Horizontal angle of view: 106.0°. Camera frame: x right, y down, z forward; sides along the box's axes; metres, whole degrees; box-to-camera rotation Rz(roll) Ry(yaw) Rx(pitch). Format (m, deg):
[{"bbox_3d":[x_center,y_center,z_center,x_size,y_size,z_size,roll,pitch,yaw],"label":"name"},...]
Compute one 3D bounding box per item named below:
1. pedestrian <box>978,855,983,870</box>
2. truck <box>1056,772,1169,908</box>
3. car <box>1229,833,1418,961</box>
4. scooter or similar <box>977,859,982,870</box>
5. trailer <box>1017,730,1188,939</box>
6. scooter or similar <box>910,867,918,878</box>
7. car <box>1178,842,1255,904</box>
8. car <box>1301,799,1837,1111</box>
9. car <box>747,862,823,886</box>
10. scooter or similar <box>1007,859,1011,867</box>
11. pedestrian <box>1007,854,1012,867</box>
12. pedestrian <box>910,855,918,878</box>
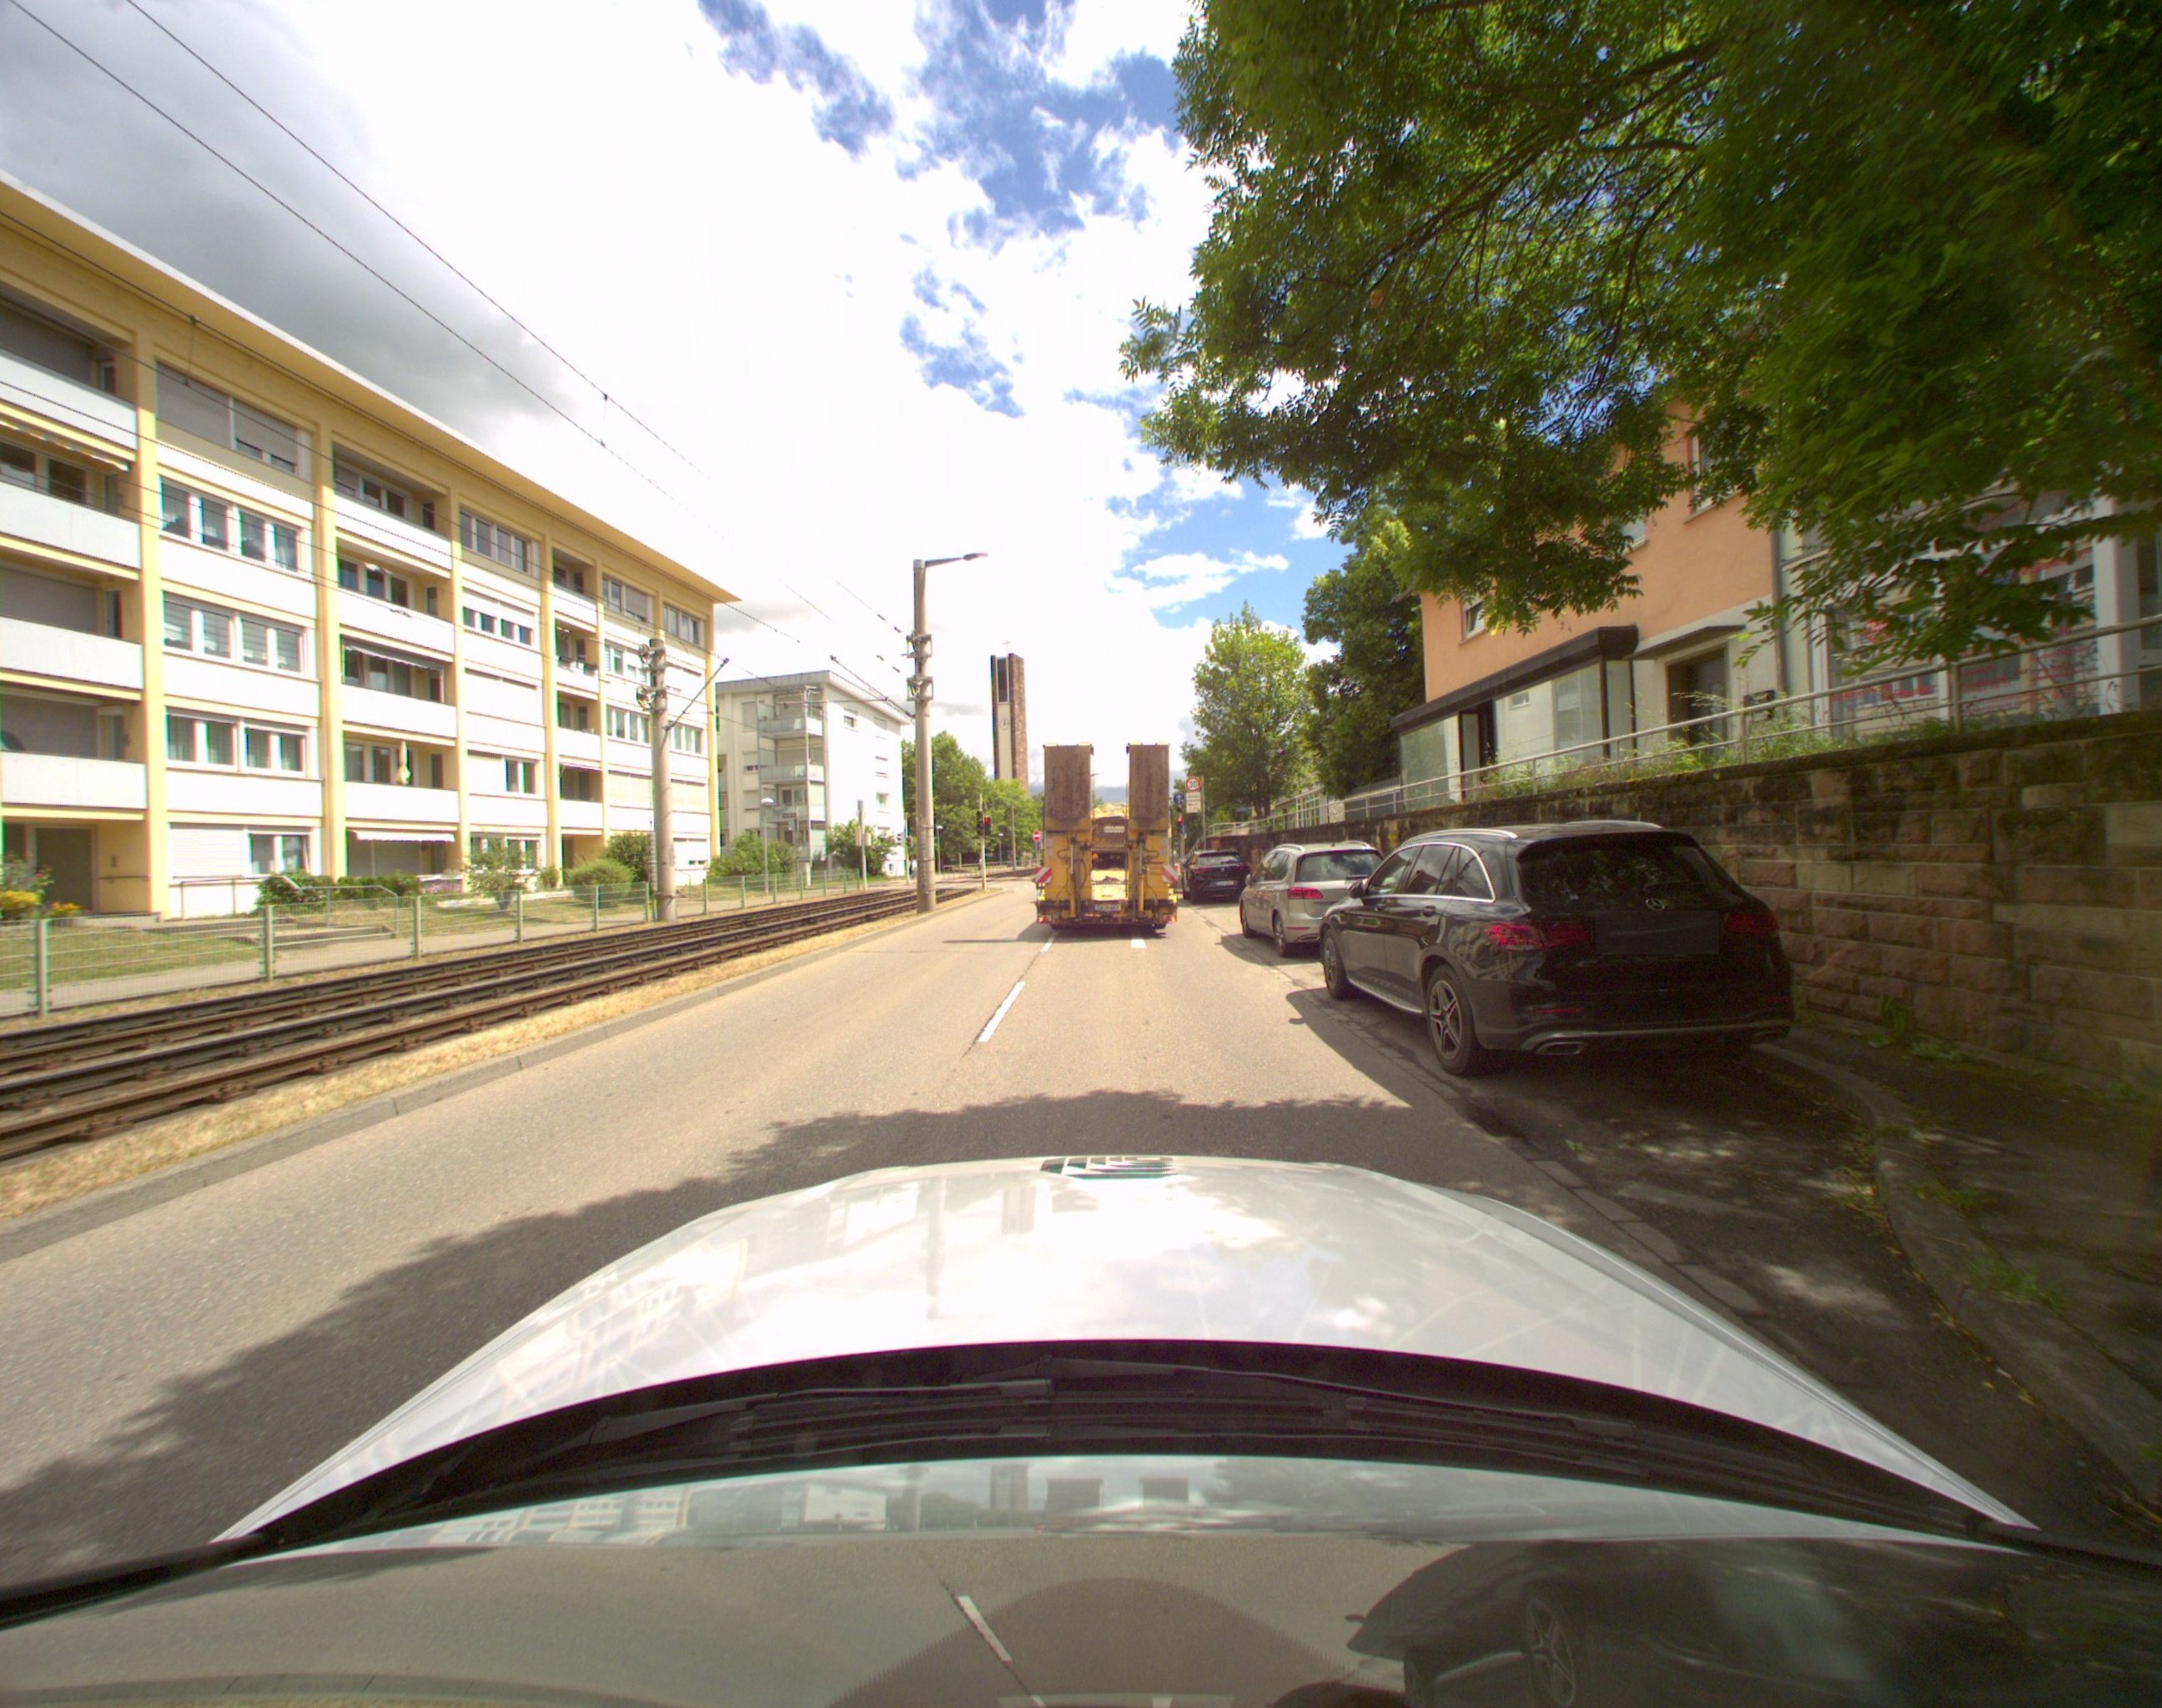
[{"bbox_3d":[-10.448,0.844,84.784,0.346,1.537,0.558,-2,0,6],"label":"pedestrian"},{"bbox_3d":[0.981,-0.385,24.354,2.930,3.572,4.881,-2,0,3],"label":"truck"},{"bbox_3d":[3.608,0.570,12.951,1.783,1.617,4.250,-3,0,2],"label":"car"},{"bbox_3d":[-10.500,1.078,84.132,0.336,1.057,0.689,-2,0,6],"label":"scooter or similar"},{"bbox_3d":[0.638,-0.356,18.736,2.932,3.601,8.692,-2,0,3],"label":"trailer"},{"bbox_3d":[-11.586,1.308,56.554,0.435,0.747,0.475,-2,0,7],"label":"scooter or similar"},{"bbox_3d":[4.044,0.530,24.871,1.843,1.639,4.004,-3,0,3],"label":"car"},{"bbox_3d":[3.301,0.559,6.738,1.783,1.617,4.449,-4,0,2],"label":"car"},{"bbox_3d":[-18.375,1.219,50.601,3.962,1.345,1.907,-2,0,10],"label":"car"},{"bbox_3d":[-8.890,1.070,100.529,0.504,0.971,0.646,0,0,1],"label":"scooter or similar"},{"bbox_3d":[-8.845,0.804,101.181,0.561,1.513,0.646,0,0,1],"label":"pedestrian"},{"bbox_3d":[-11.699,0.895,57.044,0.435,1.581,0.475,-2,0,6],"label":"pedestrian"}]
